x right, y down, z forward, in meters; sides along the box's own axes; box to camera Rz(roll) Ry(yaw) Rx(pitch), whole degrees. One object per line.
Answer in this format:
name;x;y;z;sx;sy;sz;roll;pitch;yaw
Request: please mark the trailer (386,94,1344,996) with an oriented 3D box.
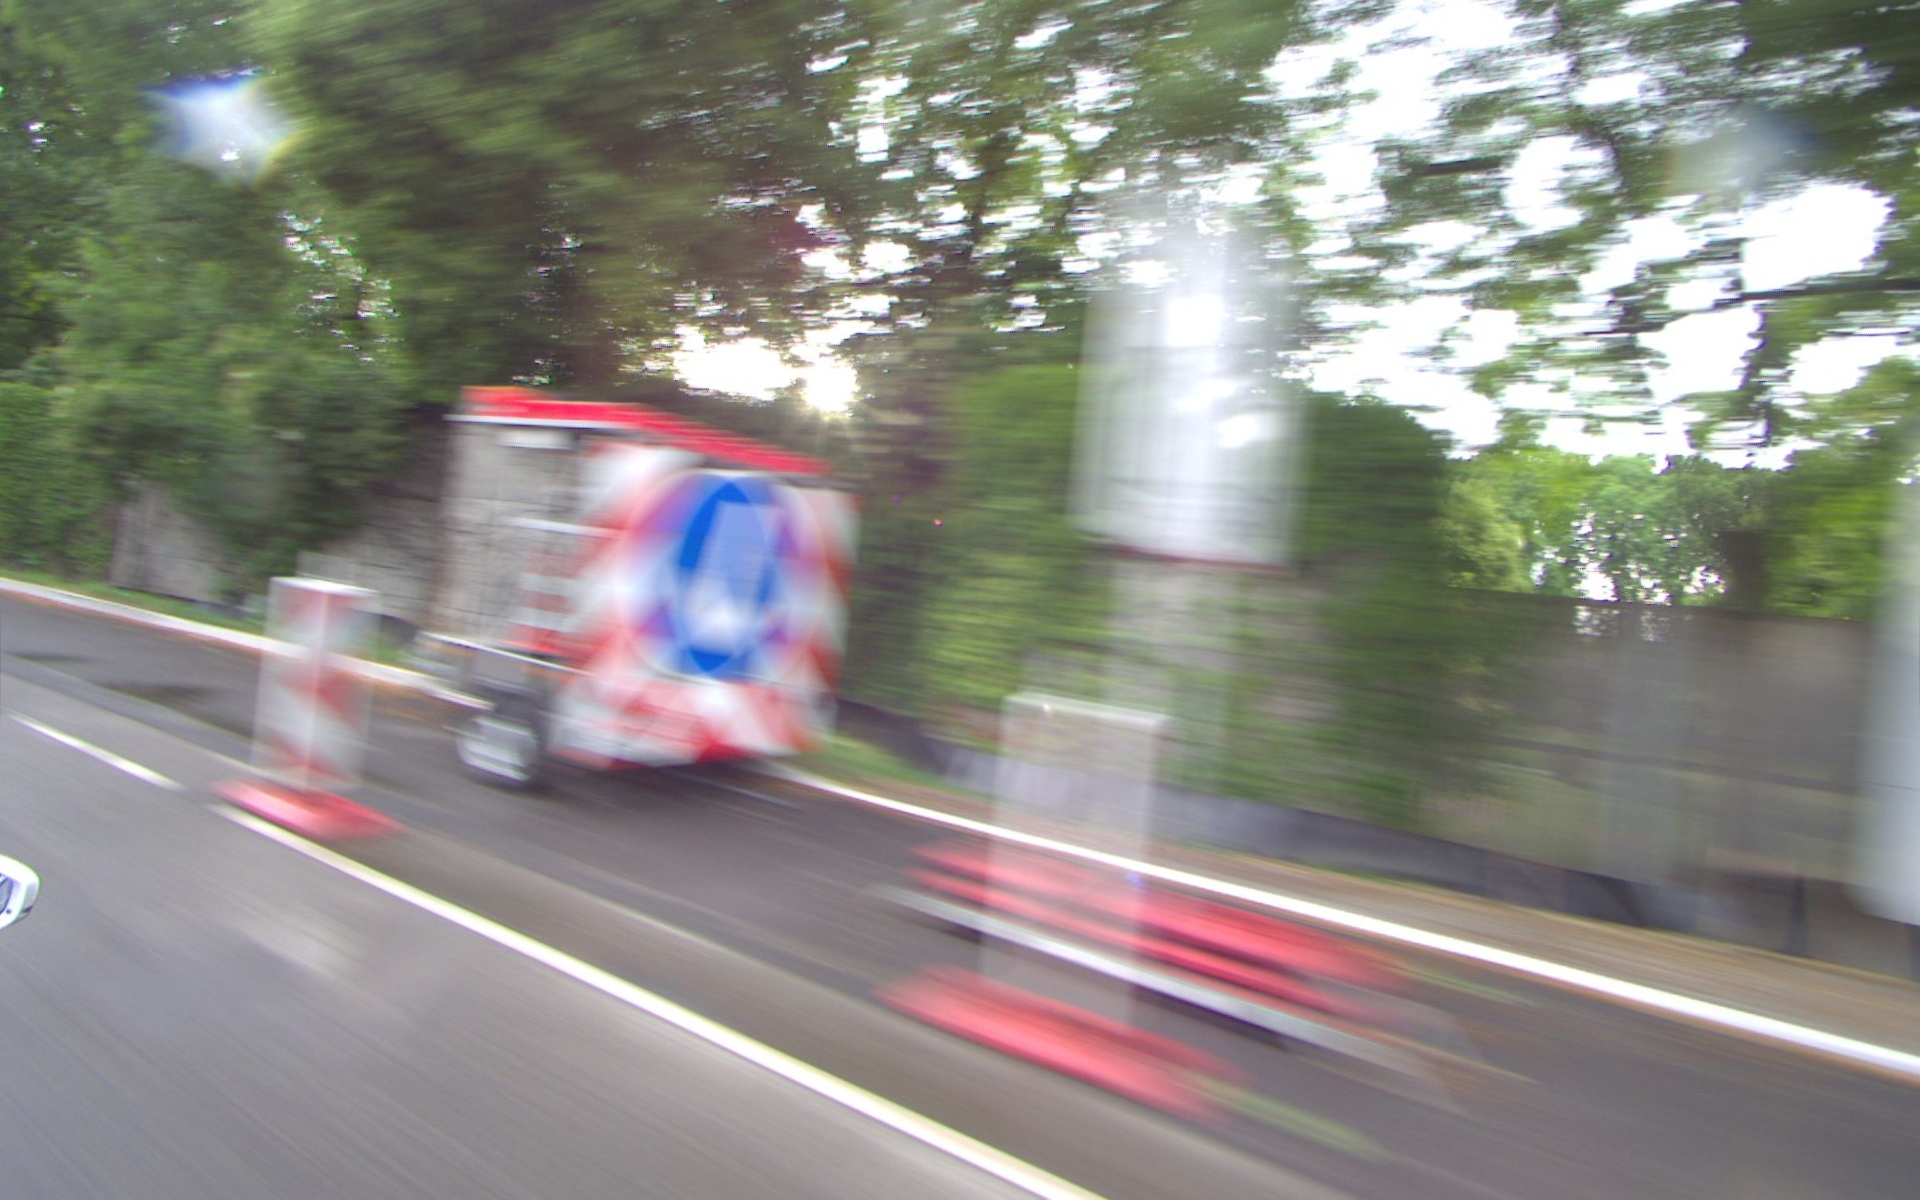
trailer;-0.975;-0.386;6.657;5.865;3.633;2.309;6;0;35
